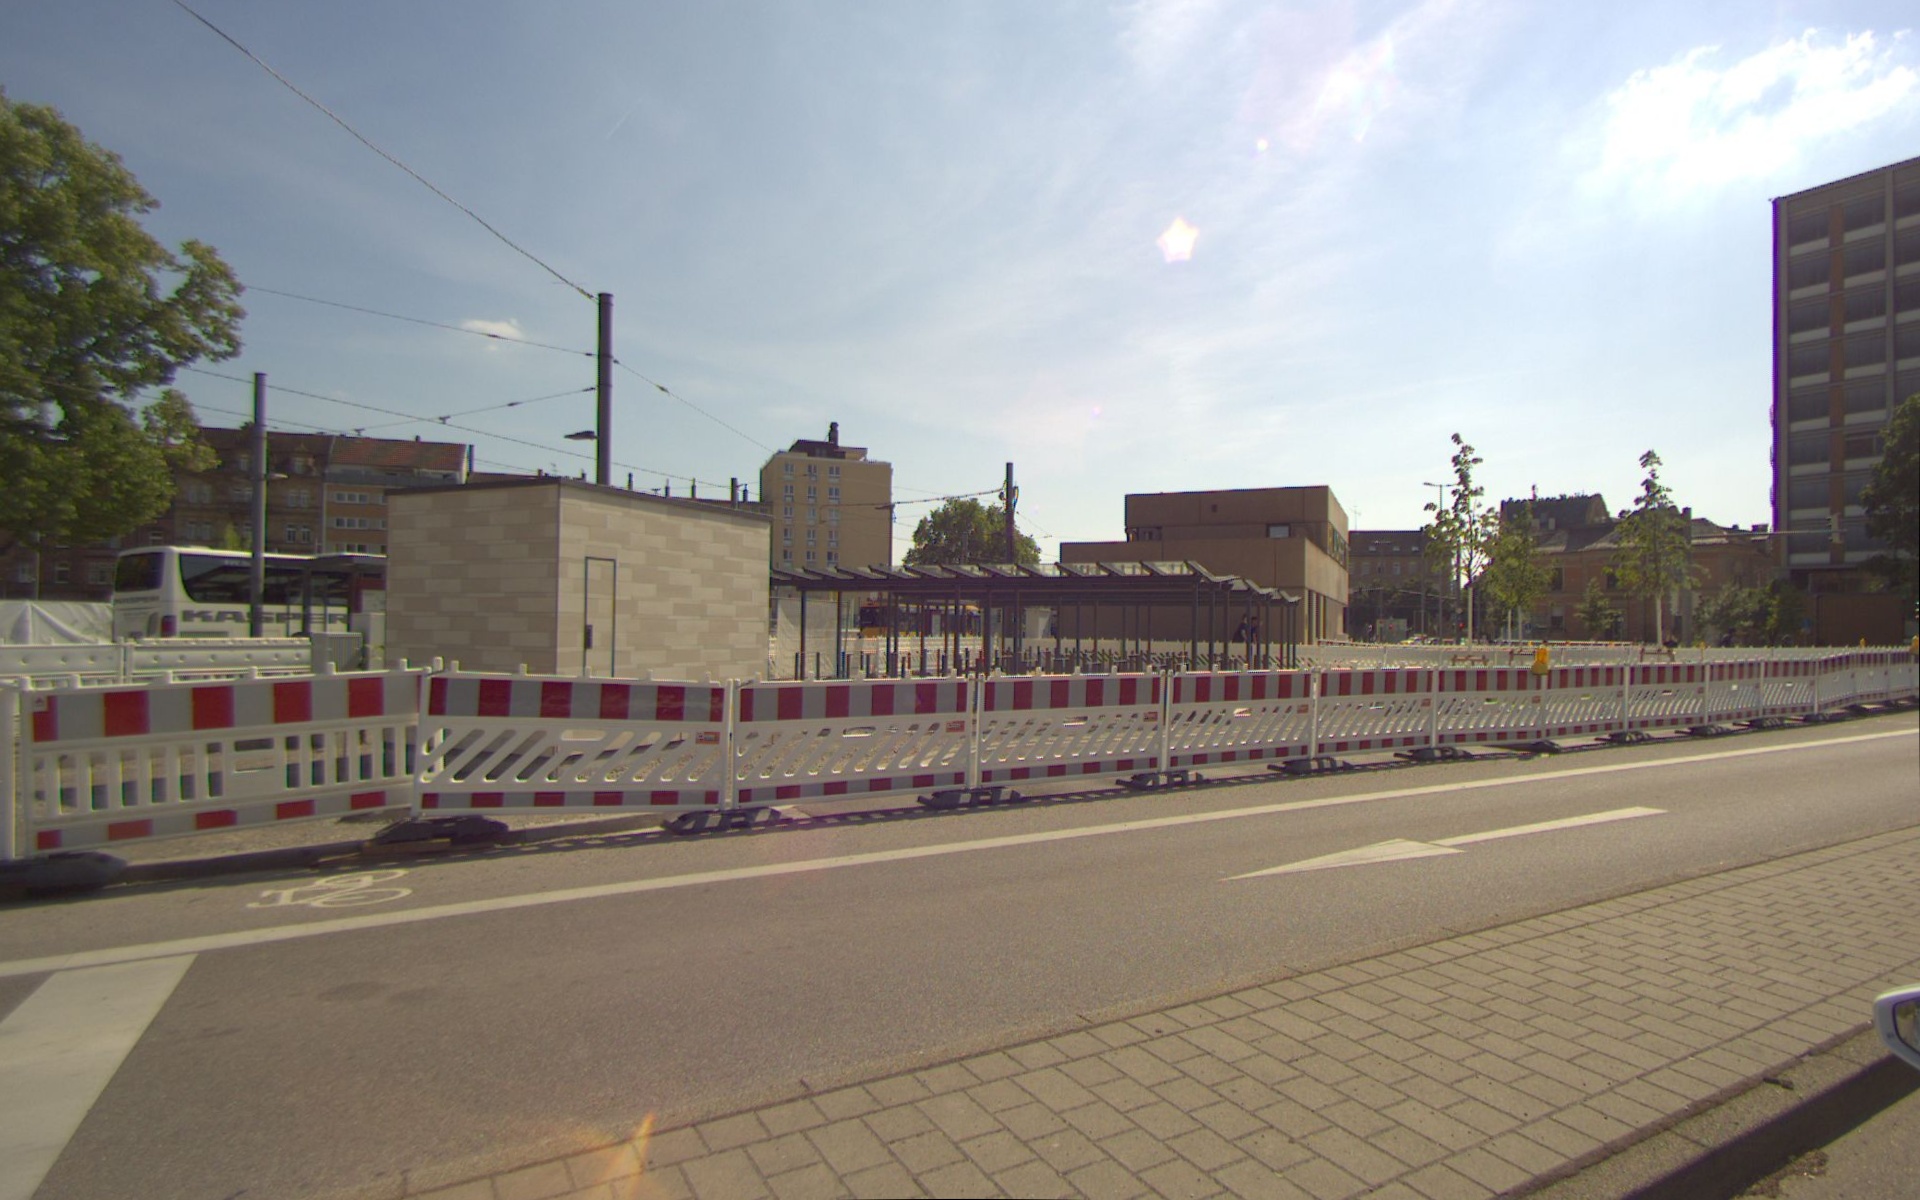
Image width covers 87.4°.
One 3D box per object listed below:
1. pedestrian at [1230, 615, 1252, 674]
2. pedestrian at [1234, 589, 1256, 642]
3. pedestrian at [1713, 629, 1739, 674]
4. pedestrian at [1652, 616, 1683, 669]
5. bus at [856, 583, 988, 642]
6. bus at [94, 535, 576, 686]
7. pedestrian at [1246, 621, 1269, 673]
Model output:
[{"bbox_3d":[9.297,1.464,33.243,0.595,1.940,0.441,1,-2,-9],"label":"pedestrian"},{"bbox_3d":[9.817,0.539,34.577,0.559,1.801,0.544,1,-2,-9],"label":"pedestrian"},{"bbox_3d":[26.459,1.771,34.699,0.624,1.511,0.613,-1,-2,44],"label":"pedestrian"},{"bbox_3d":[24.502,1.483,34.793,0.728,1.775,1.104,-1,-4,44],"label":"pedestrian"},{"bbox_3d":[-2.026,0.878,62.868,2.808,3.324,12.649,0,-2,25],"label":"bus"},{"bbox_3d":[-17.320,0.426,29.832,2.808,3.535,12.649,0,-2,25],"label":"bus"},{"bbox_3d":[10.016,1.579,33.855,0.559,1.731,0.539,1,-2,-9],"label":"pedestrian"}]
